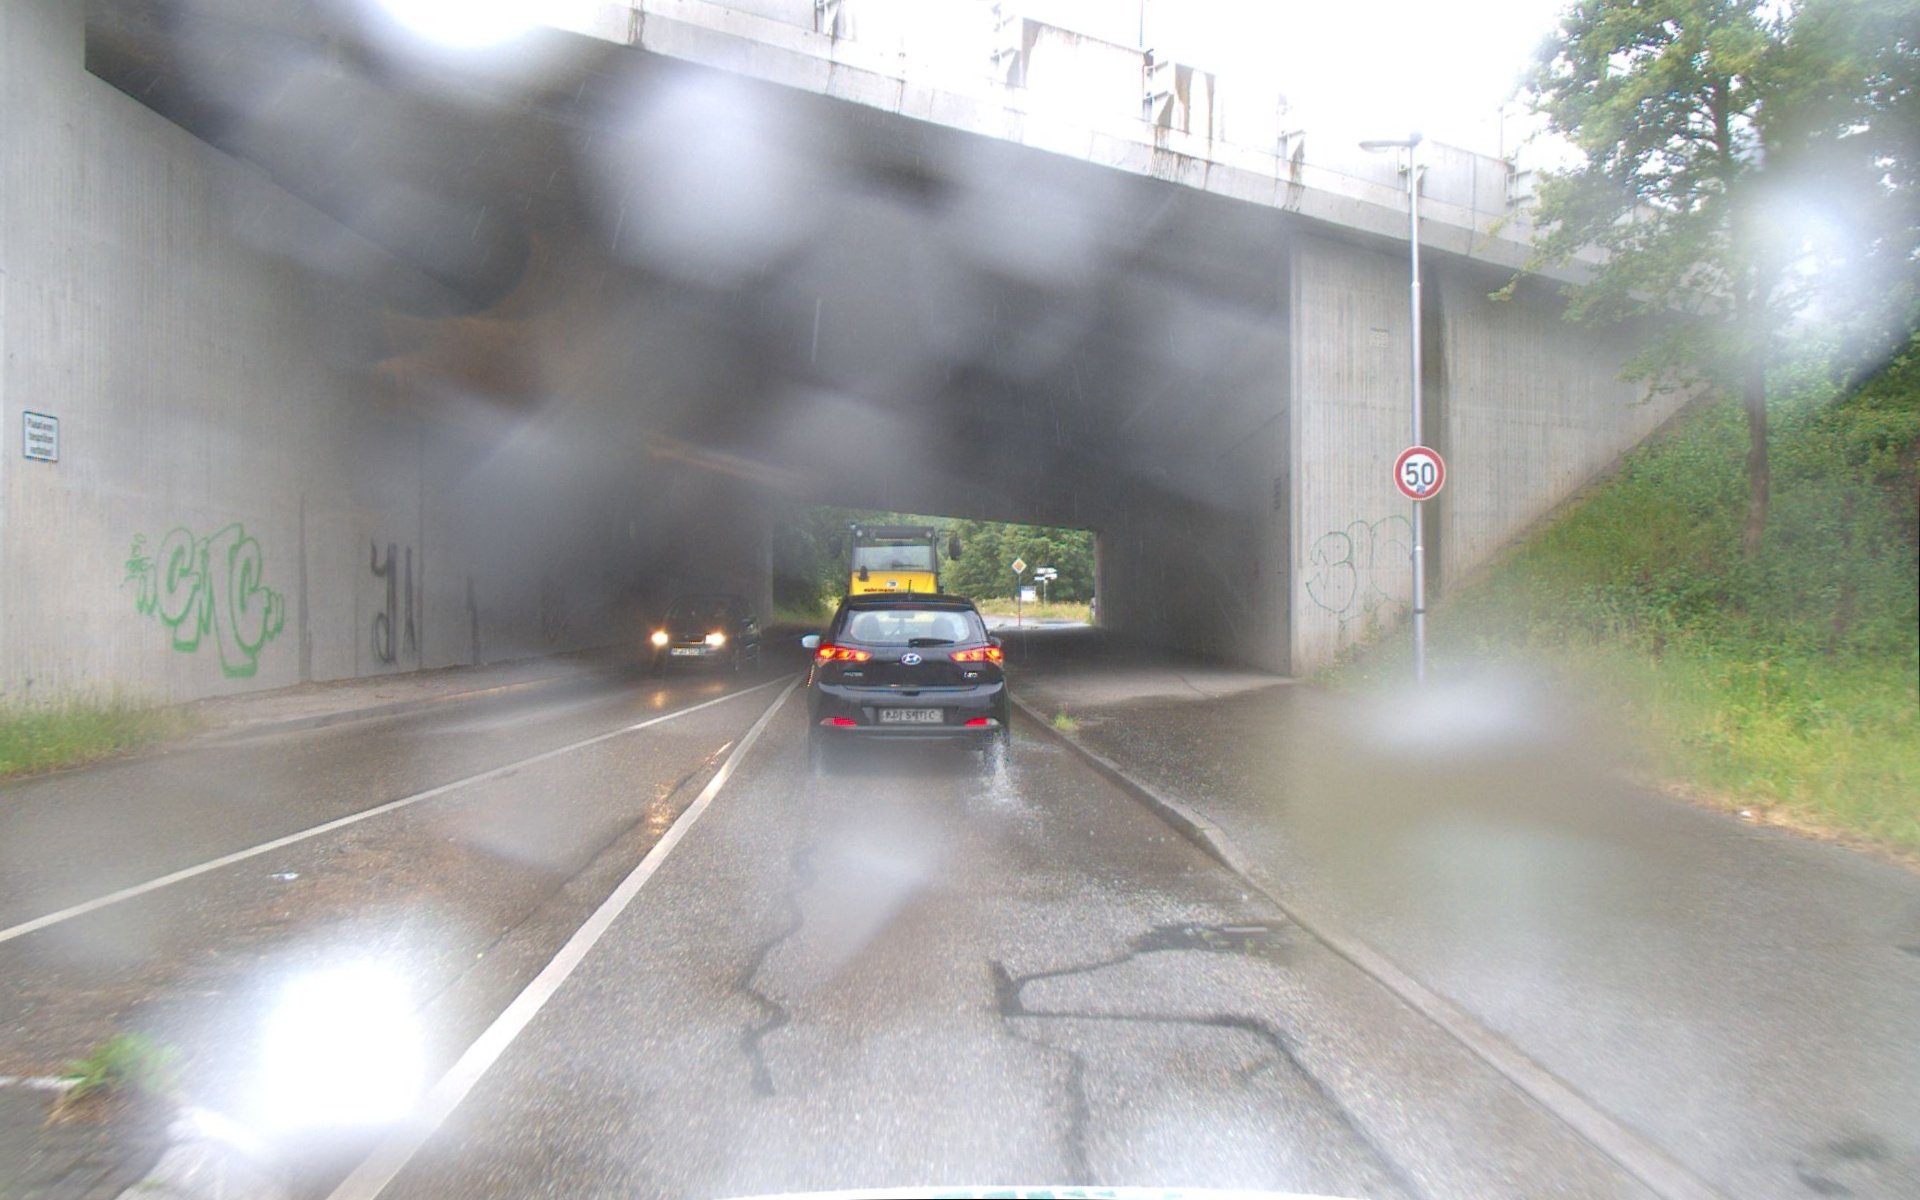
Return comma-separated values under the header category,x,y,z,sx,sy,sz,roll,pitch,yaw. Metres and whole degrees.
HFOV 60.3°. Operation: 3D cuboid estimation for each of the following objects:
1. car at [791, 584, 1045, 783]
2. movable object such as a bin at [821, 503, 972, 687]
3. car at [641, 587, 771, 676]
category,x,y,z,sx,sy,sz,roll,pitch,yaw
car,-0.389,0.660,14.992,1.953,1.513,3.998,2,0,-2
movable object such as a bin,-1.048,-0.076,28.211,2.200,2.716,6.624,2,0,-2
car,-4.595,0.531,30.471,1.655,1.513,4.073,1,0,2
